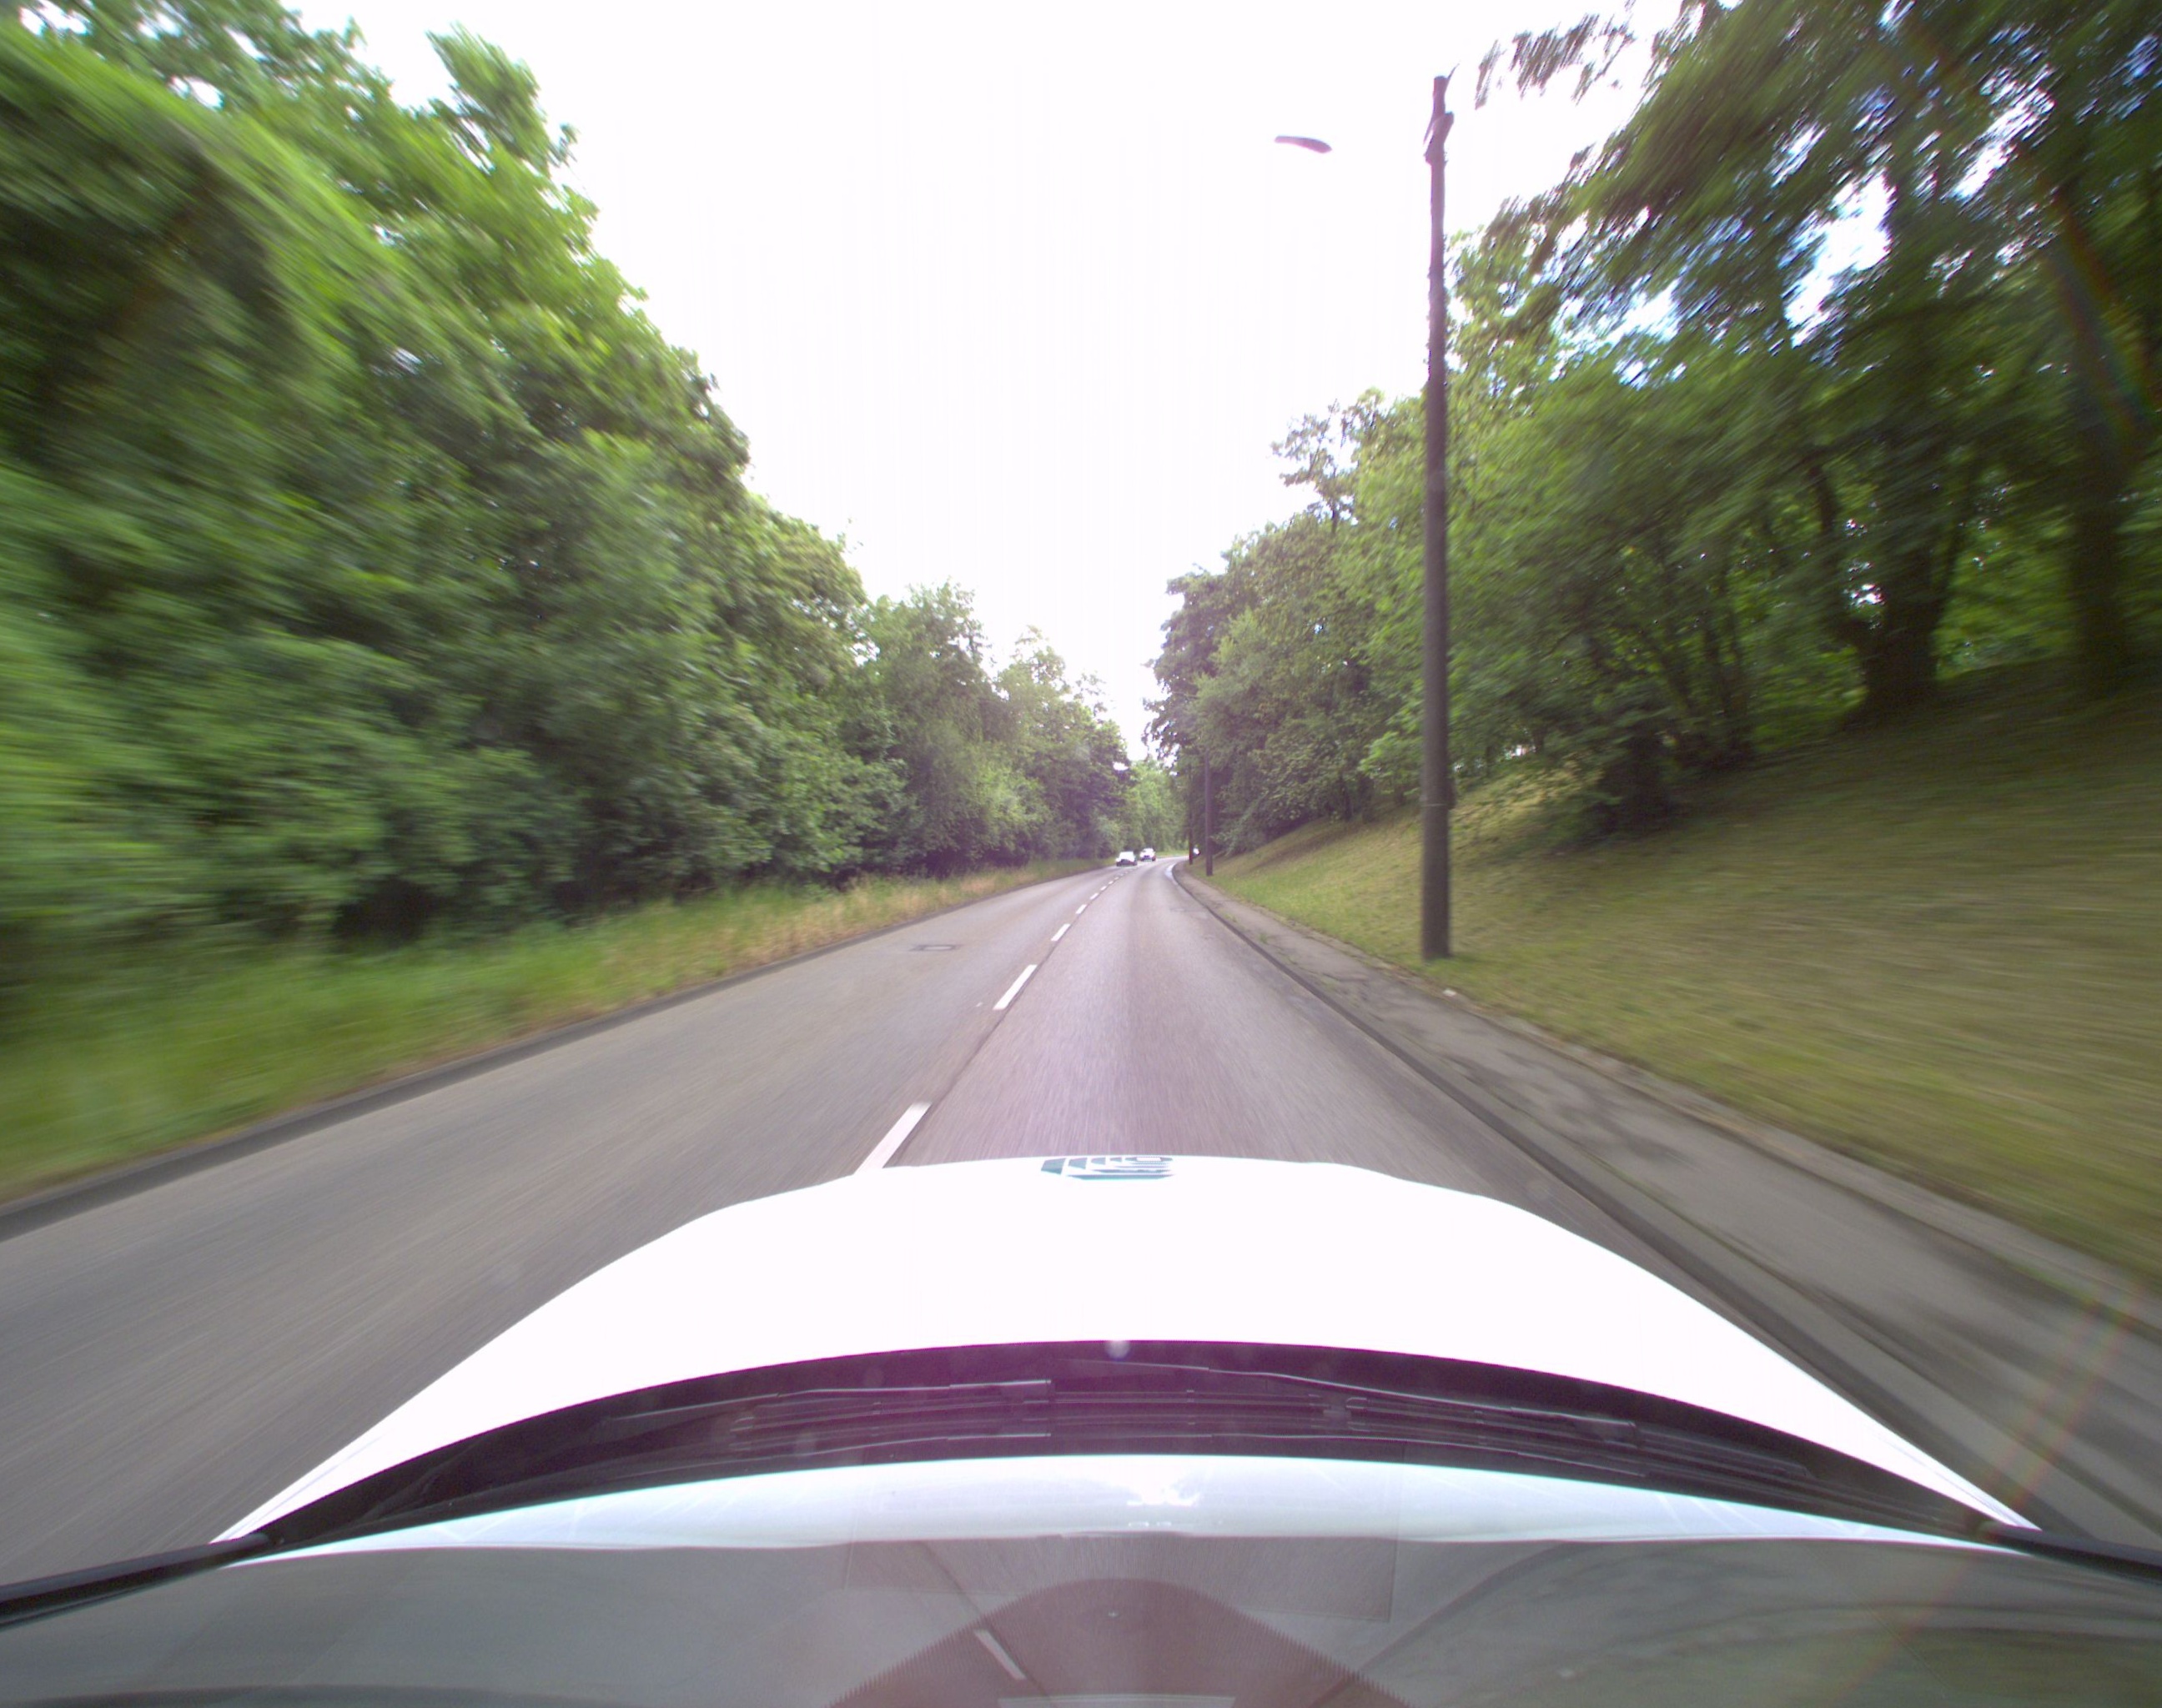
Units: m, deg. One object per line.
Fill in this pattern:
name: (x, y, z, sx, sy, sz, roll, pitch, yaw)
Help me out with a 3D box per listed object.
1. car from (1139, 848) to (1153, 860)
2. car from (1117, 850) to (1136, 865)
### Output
car: (9.035, 0.046, 113.008, 1.933, 1.581, 4.445, -1, 0, 4)
car: (4.645, 0.358, 82.300, 1.802, 1.420, 4.004, -1, 0, 4)
